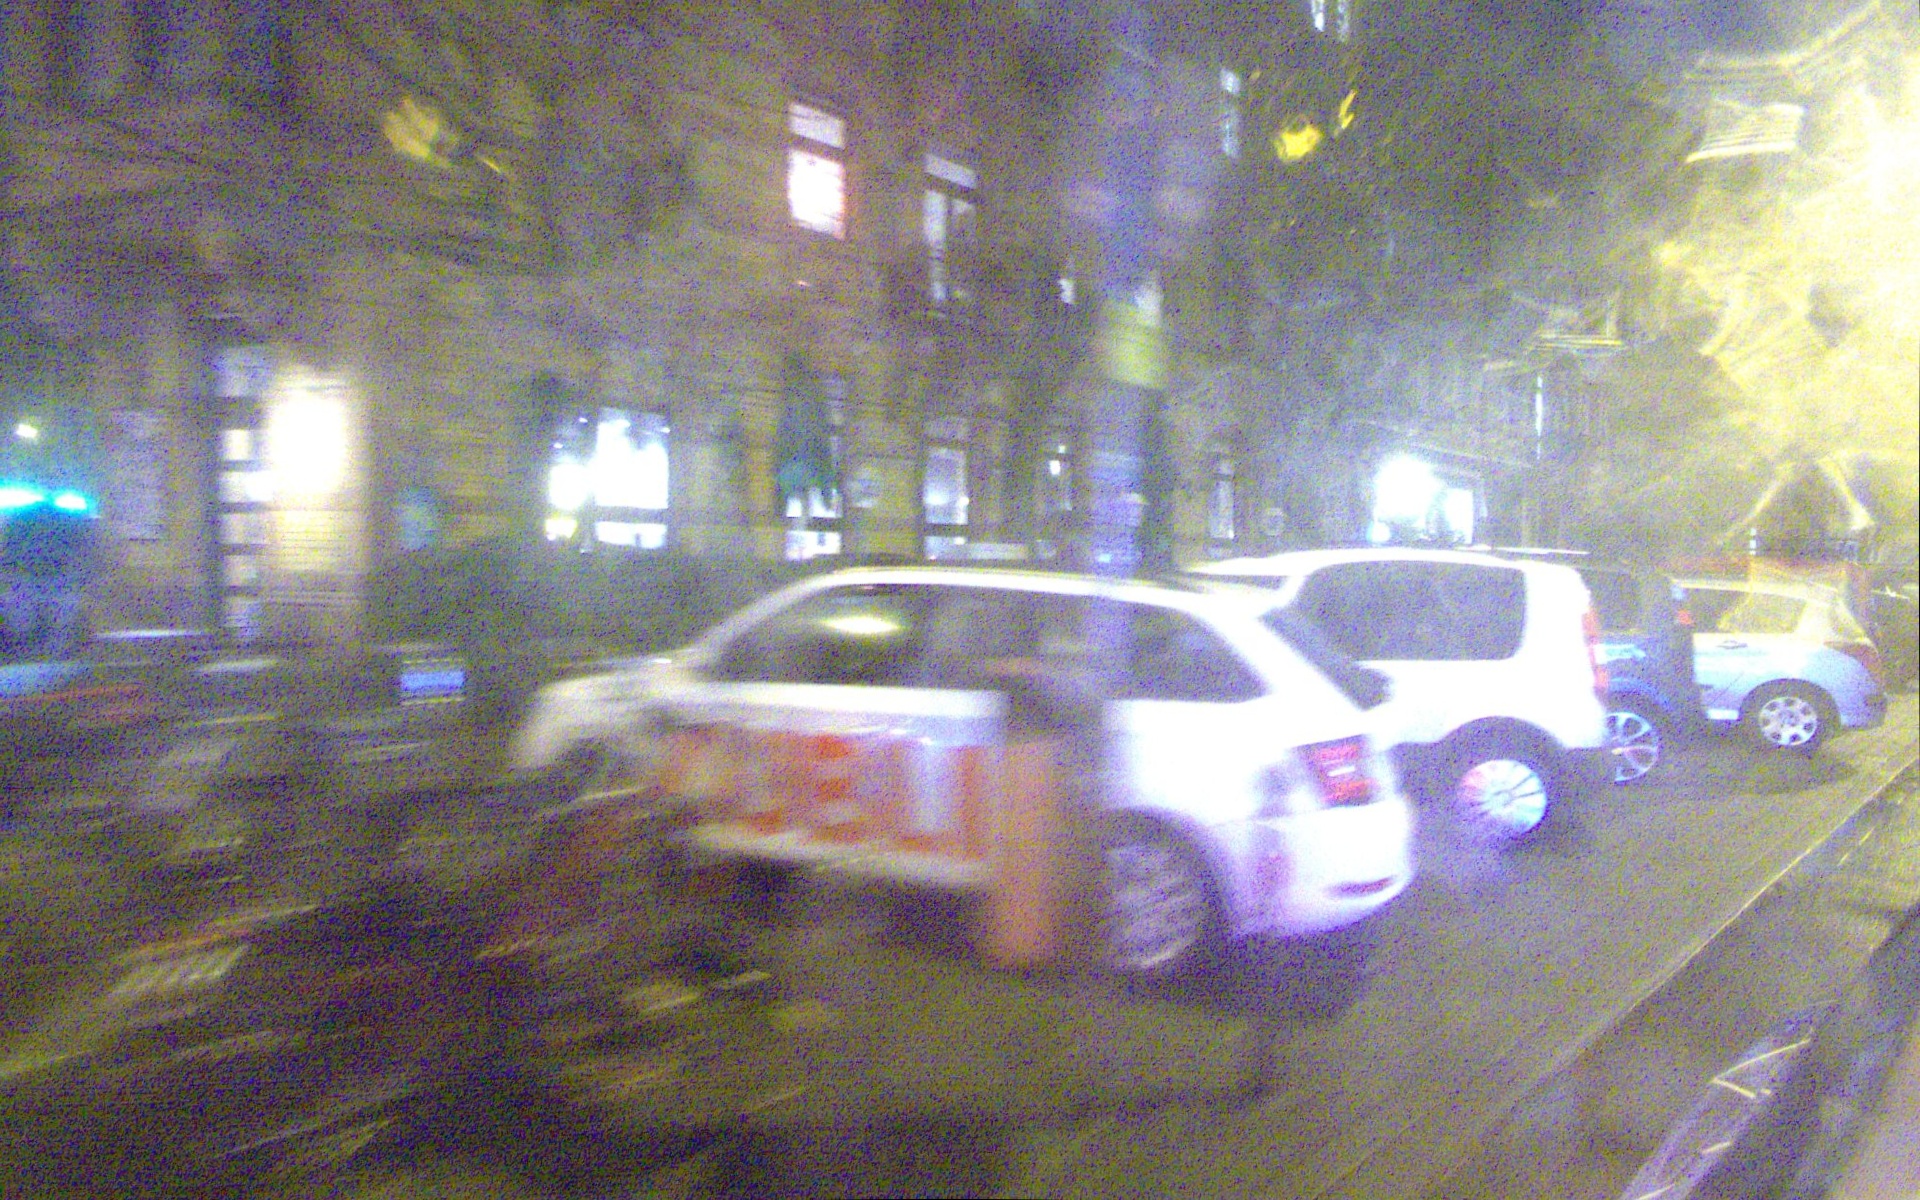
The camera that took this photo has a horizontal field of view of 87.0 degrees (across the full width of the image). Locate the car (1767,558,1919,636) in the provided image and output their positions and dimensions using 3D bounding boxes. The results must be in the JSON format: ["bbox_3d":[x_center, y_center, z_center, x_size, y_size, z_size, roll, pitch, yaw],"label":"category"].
[{"bbox_3d":[22.794,-0.084,25.153,3.899,1.763,1.694,4,3,28],"label":"car"}]

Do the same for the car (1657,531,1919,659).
[{"bbox_3d":[14.673,-0.118,17.449,3.875,1.966,1.737,3,3,13],"label":"car"}]

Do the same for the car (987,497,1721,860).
[{"bbox_3d":[2.187,0.309,6.401,3.687,1.733,1.764,3,3,15],"label":"car"}]

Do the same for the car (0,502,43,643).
[{"bbox_3d":[-14.566,-0.350,12.068,4.989,1.784,2.004,0,1,-17],"label":"car"}]

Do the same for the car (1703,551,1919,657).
[{"bbox_3d":[16.791,0.049,19.173,3.875,1.814,1.737,3,3,13],"label":"car"}]

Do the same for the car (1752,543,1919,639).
[{"bbox_3d":[21.142,-0.196,22.823,4.656,2.004,1.966,3,3,21],"label":"car"}]

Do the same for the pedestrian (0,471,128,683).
[{"bbox_3d":[-8.318,-0.221,9.247,0.793,1.839,0.793,-1,3,-15],"label":"pedestrian"}]

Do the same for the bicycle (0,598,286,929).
[{"bbox_3d":[-3.269,0.557,3.511,0.332,1.039,1.634,3,4,23],"label":"bicycle"}]

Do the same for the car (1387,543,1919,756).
[{"bbox_3d":[6.411,0.330,9.858,4.026,1.617,1.821,3,3,22],"label":"car"}]

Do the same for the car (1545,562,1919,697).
[{"bbox_3d":[10.163,0.310,13.565,3.657,1.470,1.650,3,3,18],"label":"car"}]

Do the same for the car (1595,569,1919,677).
[{"bbox_3d":[12.327,0.295,15.535,3.999,1.471,1.671,1,2,15],"label":"car"}]

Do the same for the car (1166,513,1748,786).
[{"bbox_3d":[3.639,0.254,8.120,3.740,1.733,1.741,3,3,16],"label":"car"}]

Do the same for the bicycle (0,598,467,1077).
[{"bbox_3d":[-2.296,0.585,3.072,0.332,1.038,1.637,1,5,19],"label":"bicycle"}]

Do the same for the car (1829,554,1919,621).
[{"bbox_3d":[25.397,-0.286,26.295,3.899,1.639,1.695,4,3,28],"label":"car"}]

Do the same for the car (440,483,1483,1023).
[{"bbox_3d":[-0.106,0.343,4.662,4.213,1.592,1.760,3,3,22],"label":"car"}]

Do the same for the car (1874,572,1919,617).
[{"bbox_3d":[33.768,-0.121,34.180,3.897,1.481,1.695,4,3,27],"label":"car"}]

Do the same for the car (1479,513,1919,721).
[{"bbox_3d":[8.350,0.100,11.786,3.687,2.053,1.714,3,3,15],"label":"car"}]

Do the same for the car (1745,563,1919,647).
[{"bbox_3d":[19.082,0.095,21.055,3.880,1.568,1.735,3,3,16],"label":"car"}]

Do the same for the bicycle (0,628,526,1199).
[{"bbox_3d":[-1.686,0.679,2.582,0.330,1.038,1.645,2,4,5],"label":"bicycle"}]

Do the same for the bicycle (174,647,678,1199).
[{"bbox_3d":[-1.164,0.713,2.579,0.330,1.039,1.645,2,2,3],"label":"bicycle"}]

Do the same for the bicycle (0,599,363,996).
[{"bbox_3d":[-2.790,0.574,3.230,0.332,1.106,1.633,3,2,23],"label":"bicycle"}]

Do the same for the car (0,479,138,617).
[{"bbox_3d":[-15.449,-0.738,14.435,5.431,1.913,2.004,0,1,-17],"label":"car"}]
